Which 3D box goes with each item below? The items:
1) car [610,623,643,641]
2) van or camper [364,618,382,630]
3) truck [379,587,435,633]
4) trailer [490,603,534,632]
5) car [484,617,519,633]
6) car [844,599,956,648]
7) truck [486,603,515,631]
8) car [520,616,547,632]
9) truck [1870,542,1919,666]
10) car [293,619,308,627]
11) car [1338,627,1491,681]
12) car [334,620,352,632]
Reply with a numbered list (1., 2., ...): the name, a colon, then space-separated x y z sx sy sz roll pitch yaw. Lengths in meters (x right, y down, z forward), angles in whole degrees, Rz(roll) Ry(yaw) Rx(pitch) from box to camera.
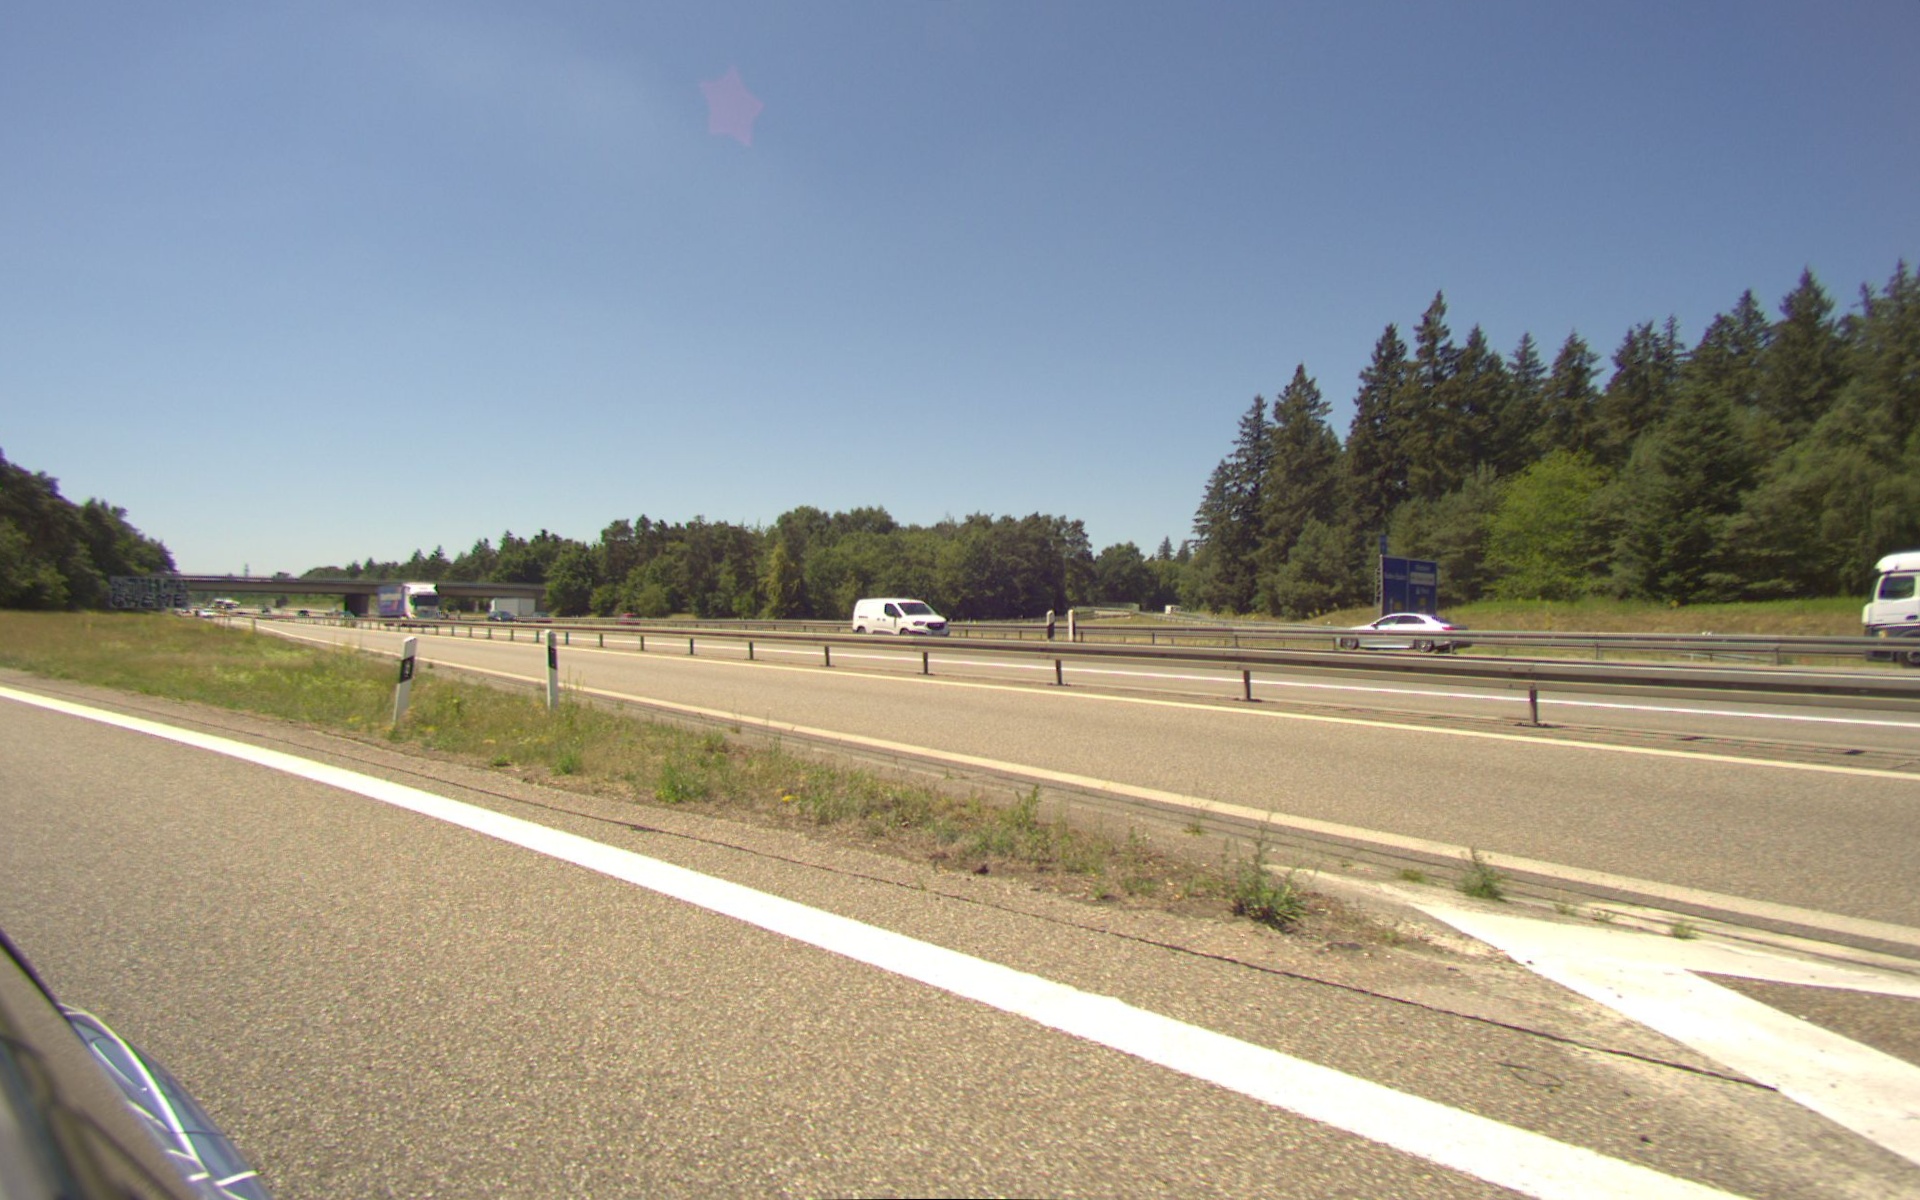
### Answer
1. car: -35.962 3.459 109.032 1.936 1.741 4.007 4 -3 -40
2. van or camper: -130.221 5.332 224.654 2.215 2.394 5.835 4 -3 -42
3. truck: -52.074 1.040 95.139 2.669 4.089 11.067 1 -2 -39
4. trailer: -71.415 2.781 161.081 2.886 4.421 14.328 4 -3 -37
5. car: -43.770 2.405 96.546 1.969 1.487 4.249 1 -1 -41
6. car: -2.413 0.909 39.470 1.749 1.767 5.029 1 -2 -39
7. truck: -75.753 2.877 166.774 2.900 4.426 6.285 4 -3 -37
8. car: -51.780 2.956 122.757 1.968 1.863 4.366 2 -3 -38
9. truck: 31.664 0.092 30.659 2.509 3.826 5.678 1 -2 -39
10. car: -134.481 4.692 206.406 1.969 1.580 4.005 1 -2 -41
11. car: 16.484 1.910 36.935 1.749 1.696 4.835 1 0 -38
12. car: -96.031 4.001 157.469 1.968 1.730 4.008 1 -1 -38
